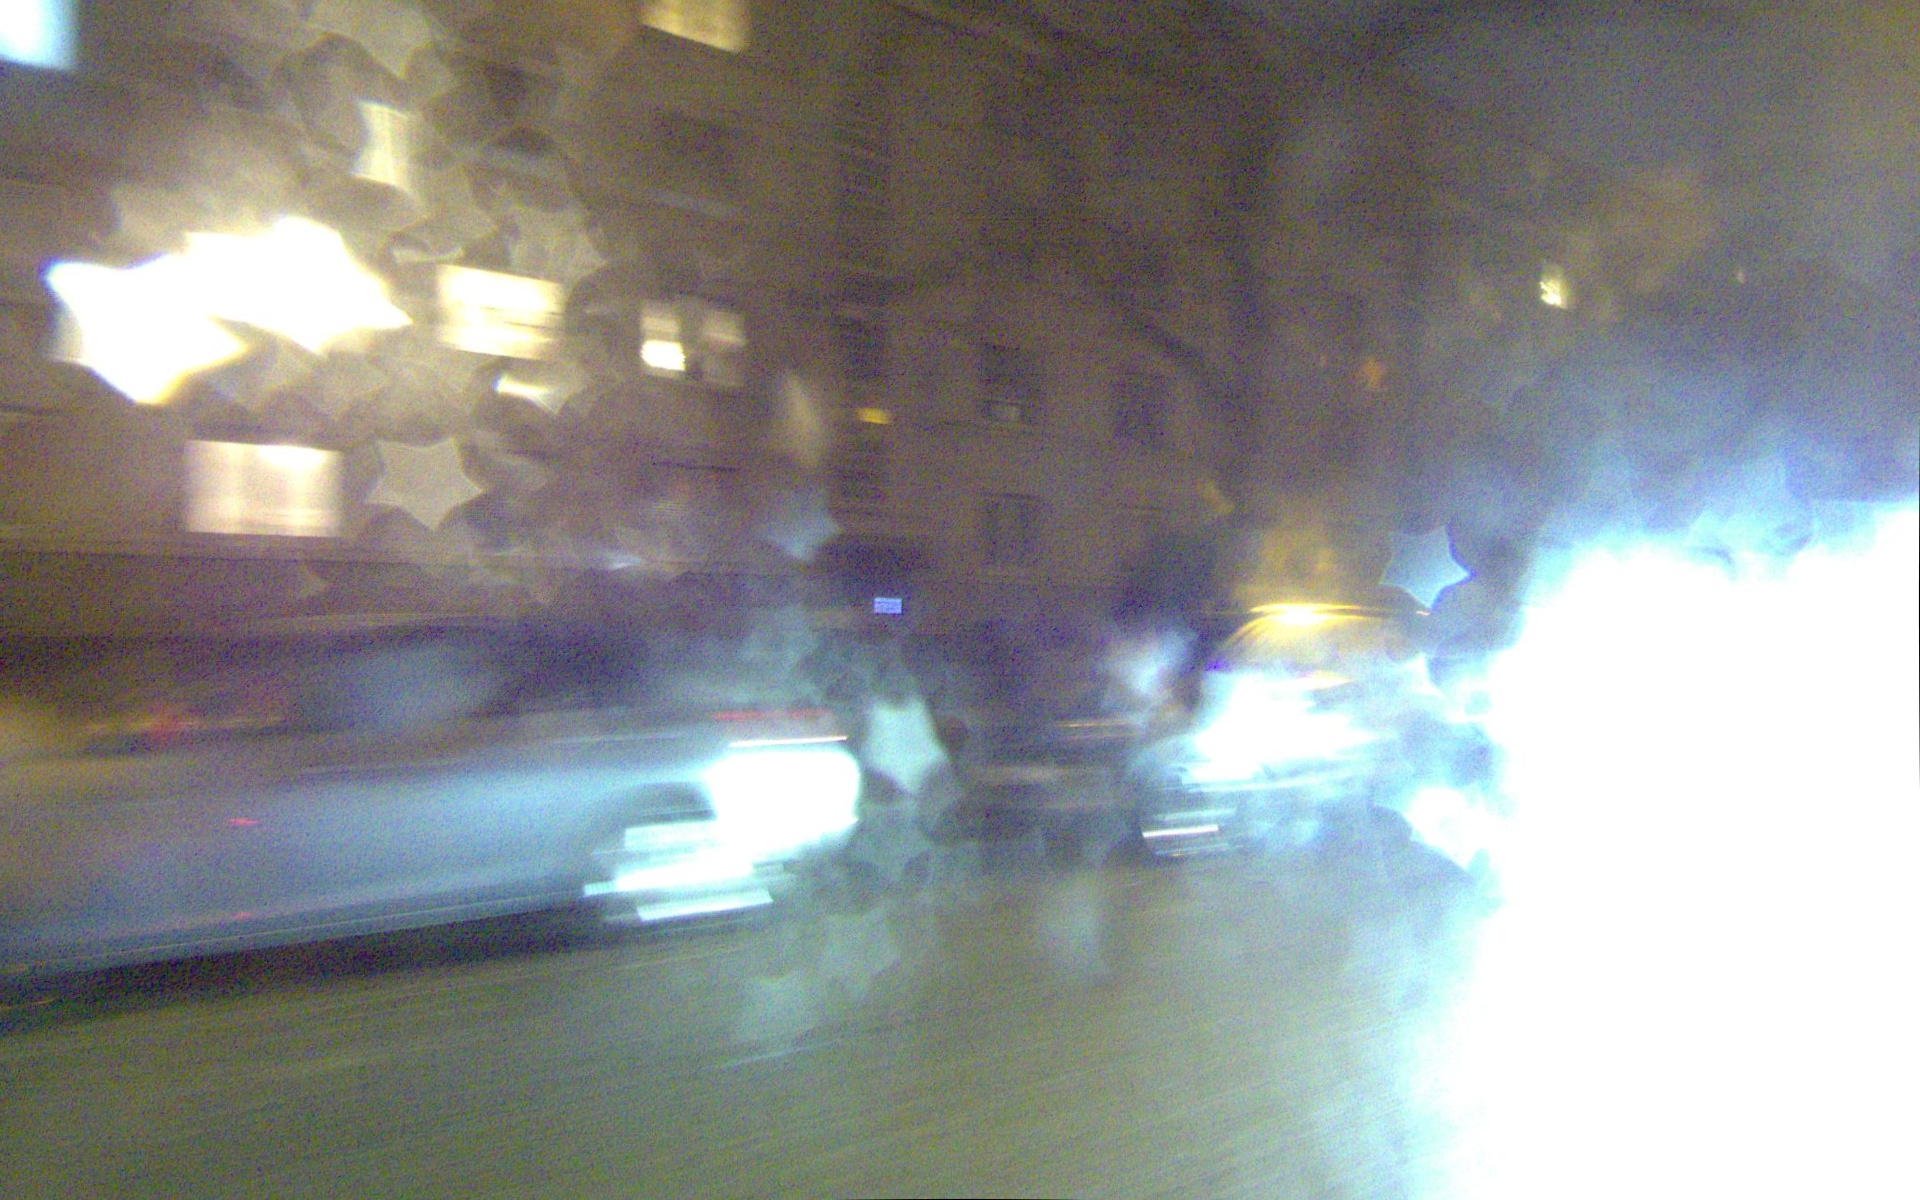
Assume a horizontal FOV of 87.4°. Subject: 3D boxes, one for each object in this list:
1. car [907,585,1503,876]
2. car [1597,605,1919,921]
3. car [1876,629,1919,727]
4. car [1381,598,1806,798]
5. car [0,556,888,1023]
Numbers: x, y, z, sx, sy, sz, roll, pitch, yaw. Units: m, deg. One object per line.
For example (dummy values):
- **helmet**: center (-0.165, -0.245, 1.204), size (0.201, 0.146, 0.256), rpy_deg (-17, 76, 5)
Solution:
- **car**: center (1.918, 0.809, 7.360), size (4.402, 1.591, 1.605), rpy_deg (2, -4, -31)
- **car**: center (6.367, 0.839, 6.512), size (4.810, 1.483, 1.811), rpy_deg (2, 0, -31)
- **car**: center (16.447, 1.210, 16.022), size (3.954, 1.481, 1.568), rpy_deg (2, -5, -31)
- **car**: center (6.312, 0.938, 9.897), size (4.402, 1.591, 1.751), rpy_deg (3, -5, -31)
- **car**: center (-2.586, 0.696, 4.625), size (4.246, 1.556, 1.606), rpy_deg (1, -3, -28)
